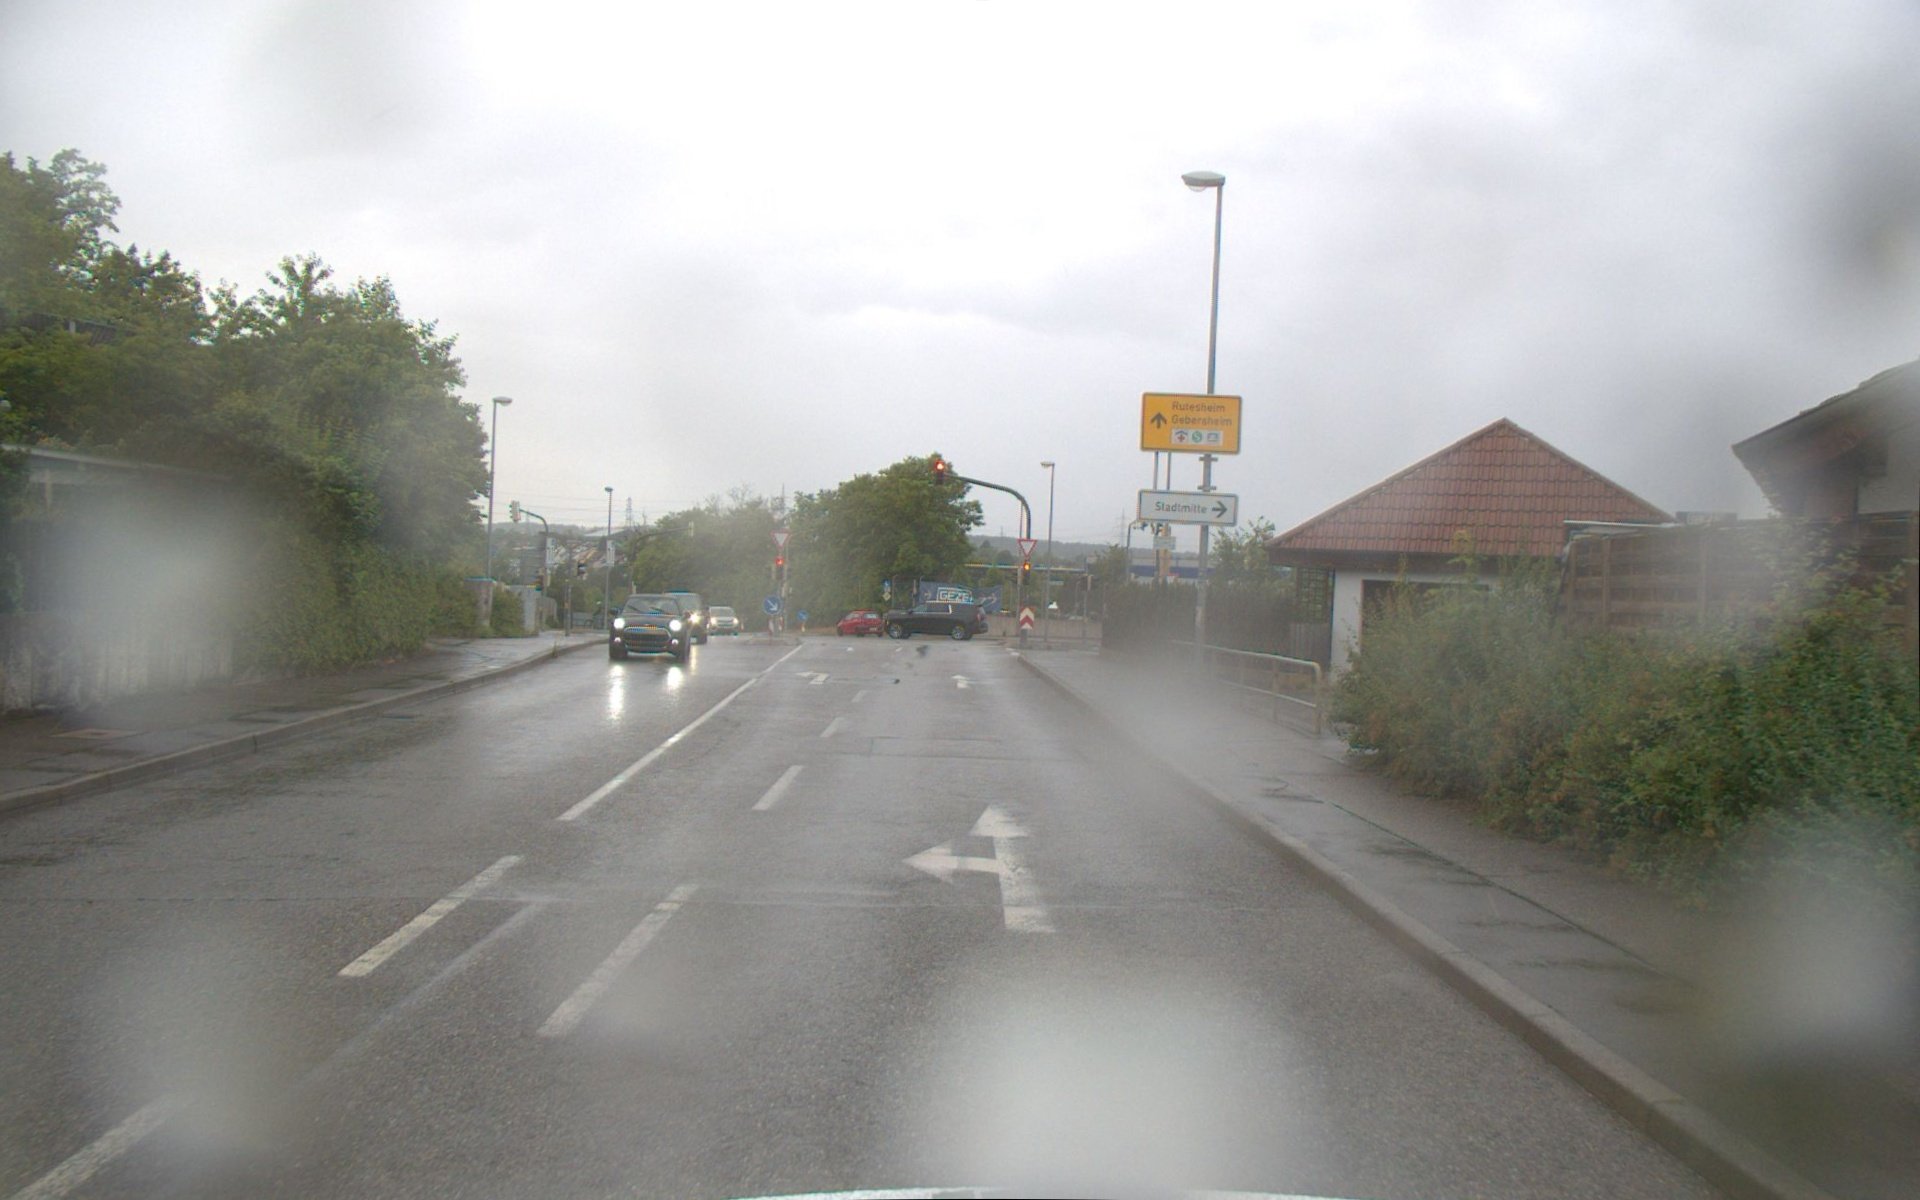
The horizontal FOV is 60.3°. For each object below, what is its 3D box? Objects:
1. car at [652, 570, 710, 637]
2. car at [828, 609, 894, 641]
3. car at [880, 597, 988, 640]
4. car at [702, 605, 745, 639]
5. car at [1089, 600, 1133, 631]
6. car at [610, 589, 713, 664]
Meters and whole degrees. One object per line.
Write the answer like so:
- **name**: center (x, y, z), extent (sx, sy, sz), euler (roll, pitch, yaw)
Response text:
- **car**: center (-9.179, 0.076, 54.641), extent (1.738, 2.048, 3.993), euler (2, 1, -8)
- **car**: center (-5.905, 1.453, 97.775), extent (2.269, 1.720, 4.718), euler (-2, 0, -26)
- **car**: center (-1.342, 0.937, 86.476), extent (5.350, 2.049, 2.002), euler (-2, 0, 8)
- **car**: center (-14.862, 1.374, 103.738), extent (1.963, 2.049, 3.978), euler (0, 0, -19)
- **car**: center (10.426, 1.062, 113.911), extent (1.952, 2.048, 4.001), euler (2, 1, 20)
- **car**: center (-6.785, 0.563, 37.976), extent (1.769, 1.550, 3.998), euler (2, 1, -3)
